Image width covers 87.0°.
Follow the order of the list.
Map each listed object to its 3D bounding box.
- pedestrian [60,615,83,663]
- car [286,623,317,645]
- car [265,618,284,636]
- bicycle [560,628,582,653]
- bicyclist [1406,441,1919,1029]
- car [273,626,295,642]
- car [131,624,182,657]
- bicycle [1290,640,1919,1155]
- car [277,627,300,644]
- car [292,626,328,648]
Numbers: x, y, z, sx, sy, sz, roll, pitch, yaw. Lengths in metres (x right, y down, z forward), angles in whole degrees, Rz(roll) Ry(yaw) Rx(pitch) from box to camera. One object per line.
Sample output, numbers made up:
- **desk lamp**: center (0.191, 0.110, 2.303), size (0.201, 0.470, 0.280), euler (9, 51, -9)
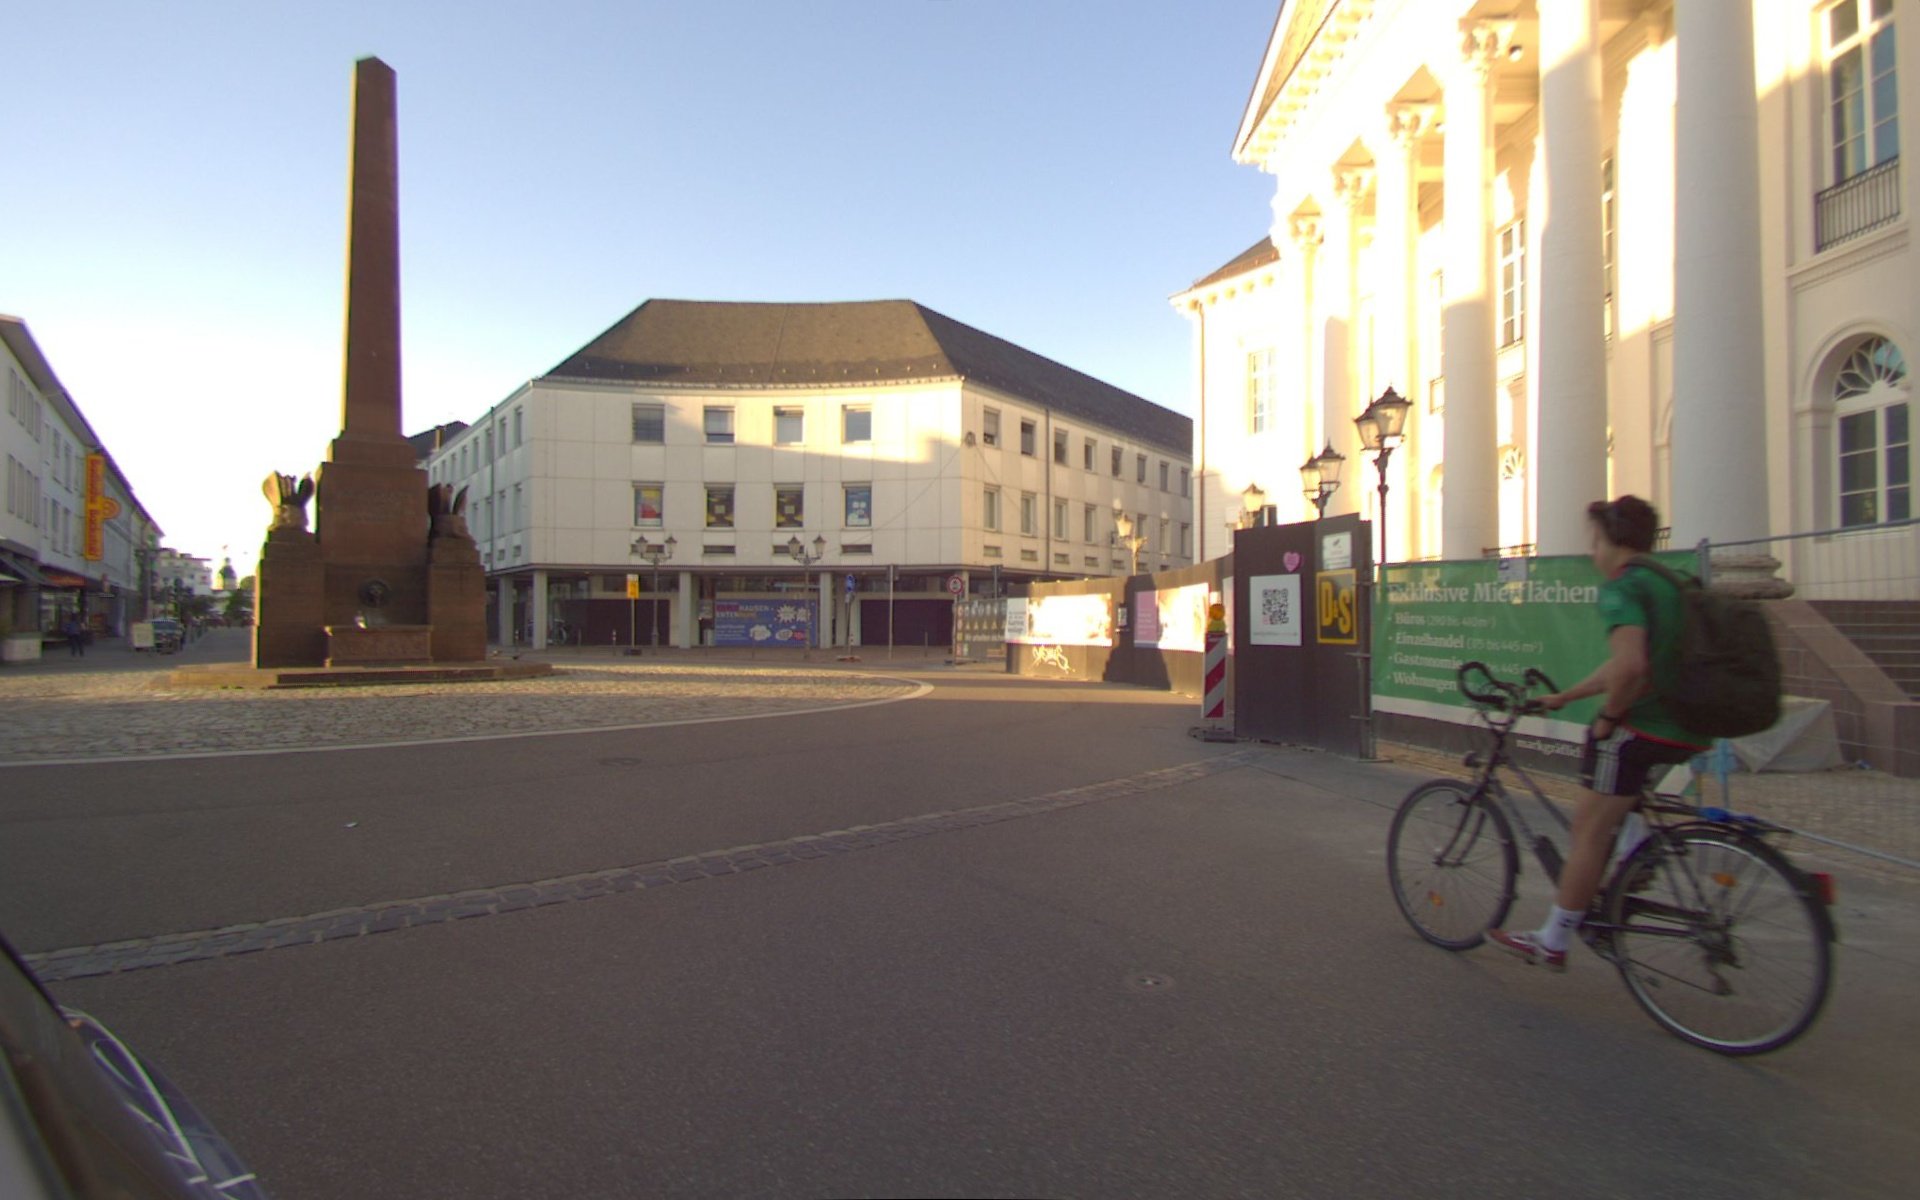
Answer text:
- **pedestrian**: center (-31.628, 1.380, 36.036), size (0.594, 1.713, 0.714), euler (1, -2, -42)
- **car**: center (-53.881, 2.756, 82.820), size (1.753, 1.679, 4.337), euler (1, -2, -38)
- **car**: center (-83.127, 3.260, 122.726), size (1.753, 2.243, 4.338), euler (1, -2, -36)
- **bicycle**: center (-18.770, 1.932, 48.820), size (0.473, 1.164, 1.953), euler (1, -2, -37)
- **bicyclist**: center (2.352, 0.382, 3.514), size (0.785, 1.615, 1.235), euler (0, -2, -25)
- **car**: center (-71.968, 3.582, 107.761), size (1.753, 1.679, 4.338), euler (1, -2, -36)
- **car**: center (-37.406, 1.848, 47.184), size (1.753, 1.435, 3.969), euler (1, -2, -37)
- **bicycle**: center (2.286, 0.778, 3.604), size (0.785, 1.226, 2.240), euler (0, -1, -25)
- **car**: center (-68.301, 3.555, 102.861), size (1.753, 1.679, 4.338), euler (1, -2, -36)
- **car**: center (-46.267, 2.619, 71.955), size (1.753, 1.503, 4.337), euler (1, -2, -38)
